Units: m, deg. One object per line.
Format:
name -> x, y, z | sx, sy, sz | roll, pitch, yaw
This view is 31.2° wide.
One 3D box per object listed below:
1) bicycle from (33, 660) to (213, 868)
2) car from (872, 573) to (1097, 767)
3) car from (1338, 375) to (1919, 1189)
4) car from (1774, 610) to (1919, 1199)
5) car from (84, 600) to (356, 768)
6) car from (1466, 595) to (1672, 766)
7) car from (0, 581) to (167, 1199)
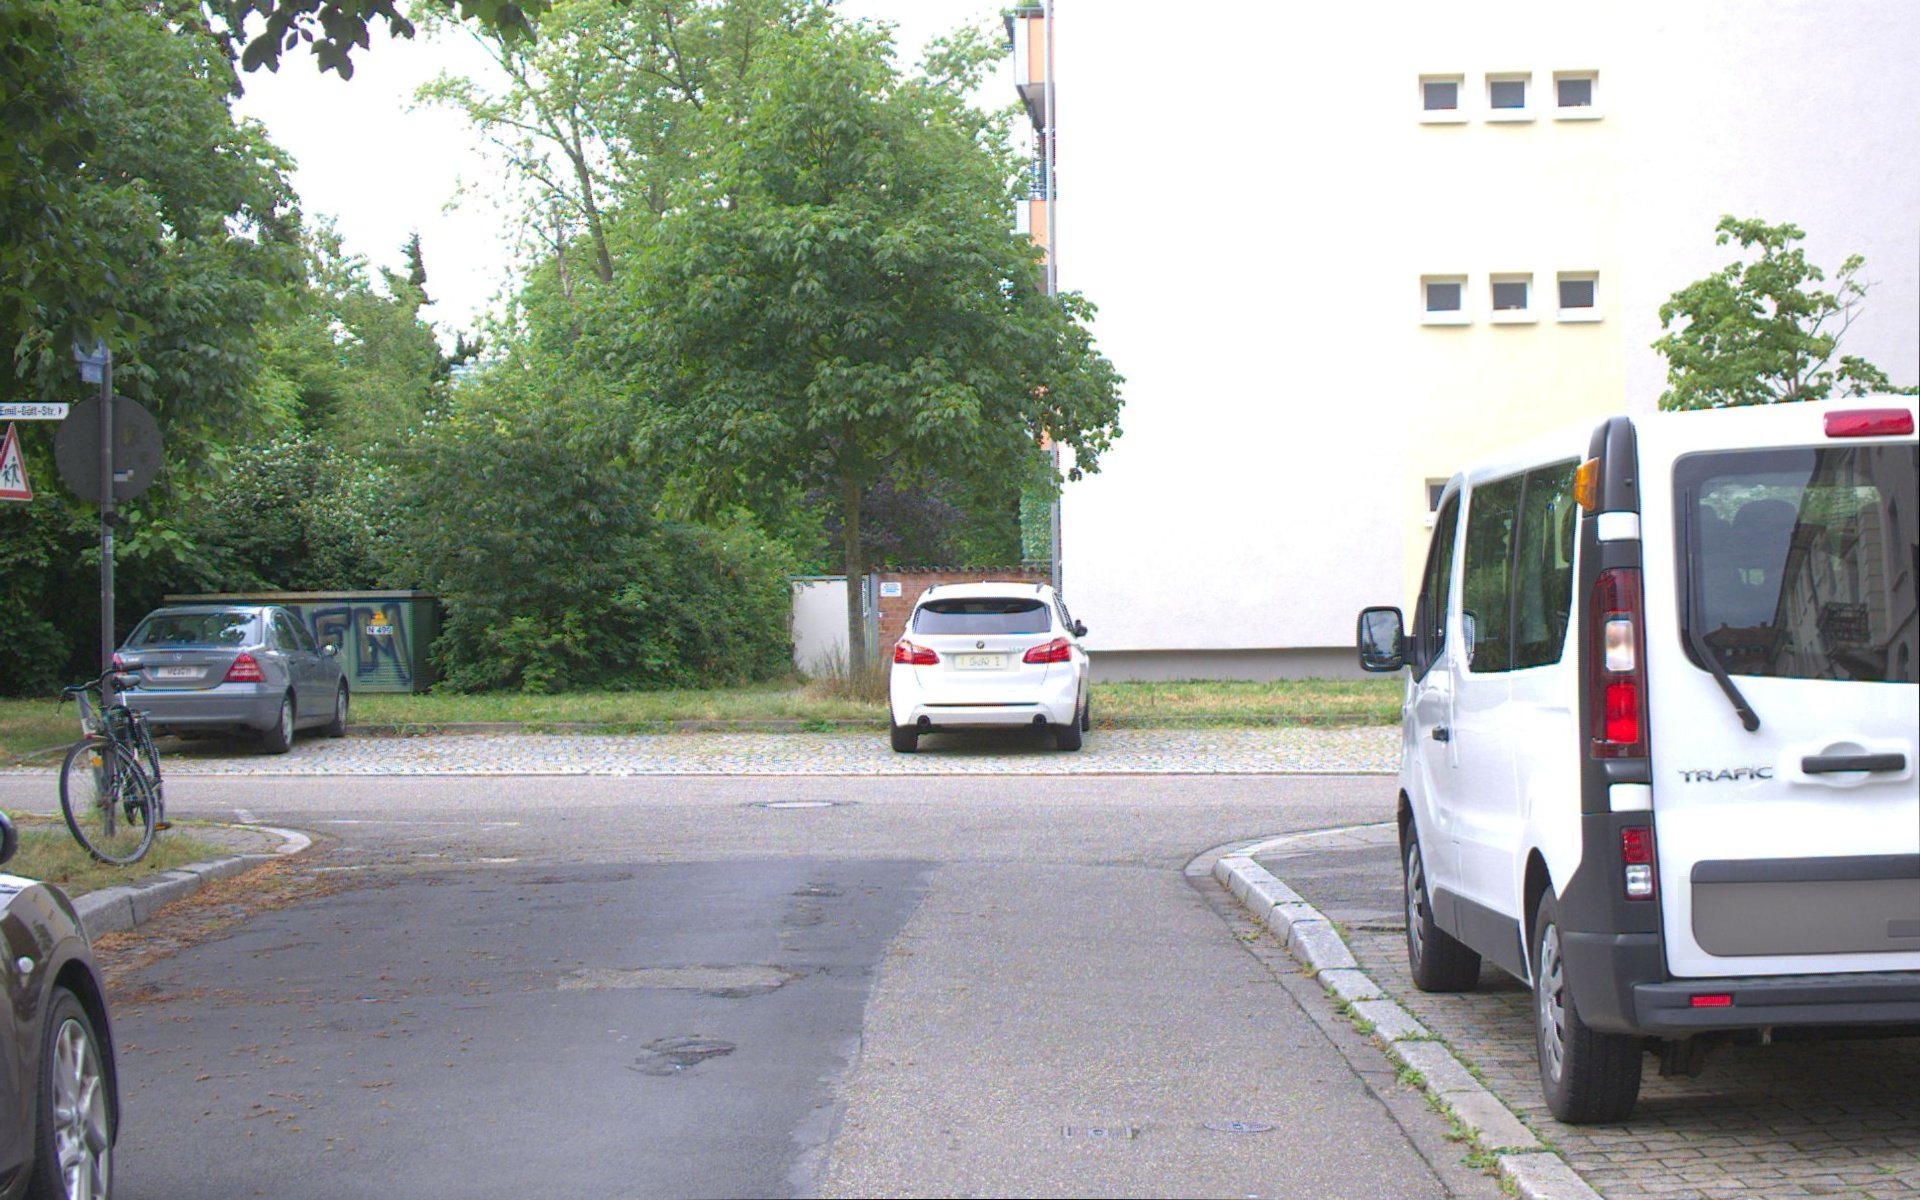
bicycle -> -4.458, 0.845, 18.436 | 0.510, 0.982, 2.183 | 2, 0, -3
car -> 0.304, 0.621, 33.565 | 1.879, 1.555, 4.149 | 0, 3, 5
car -> 2.473, 0.418, 11.034 | 1.878, 1.989, 5.012 | -2, 0, 0
car -> 2.522, 0.719, 4.550 | 1.687, 1.449, 3.902 | -3, 0, -3
car -> -7.258, 0.779, 34.119 | 1.674, 1.449, 4.560 | -1, 1, 0
car -> 5.885, 0.735, 33.592 | 1.836, 1.458, 4.559 | -1, 1, 9
car -> -2.818, 0.771, 6.193 | 1.711, 1.453, 4.163 | -5, 0, 0
